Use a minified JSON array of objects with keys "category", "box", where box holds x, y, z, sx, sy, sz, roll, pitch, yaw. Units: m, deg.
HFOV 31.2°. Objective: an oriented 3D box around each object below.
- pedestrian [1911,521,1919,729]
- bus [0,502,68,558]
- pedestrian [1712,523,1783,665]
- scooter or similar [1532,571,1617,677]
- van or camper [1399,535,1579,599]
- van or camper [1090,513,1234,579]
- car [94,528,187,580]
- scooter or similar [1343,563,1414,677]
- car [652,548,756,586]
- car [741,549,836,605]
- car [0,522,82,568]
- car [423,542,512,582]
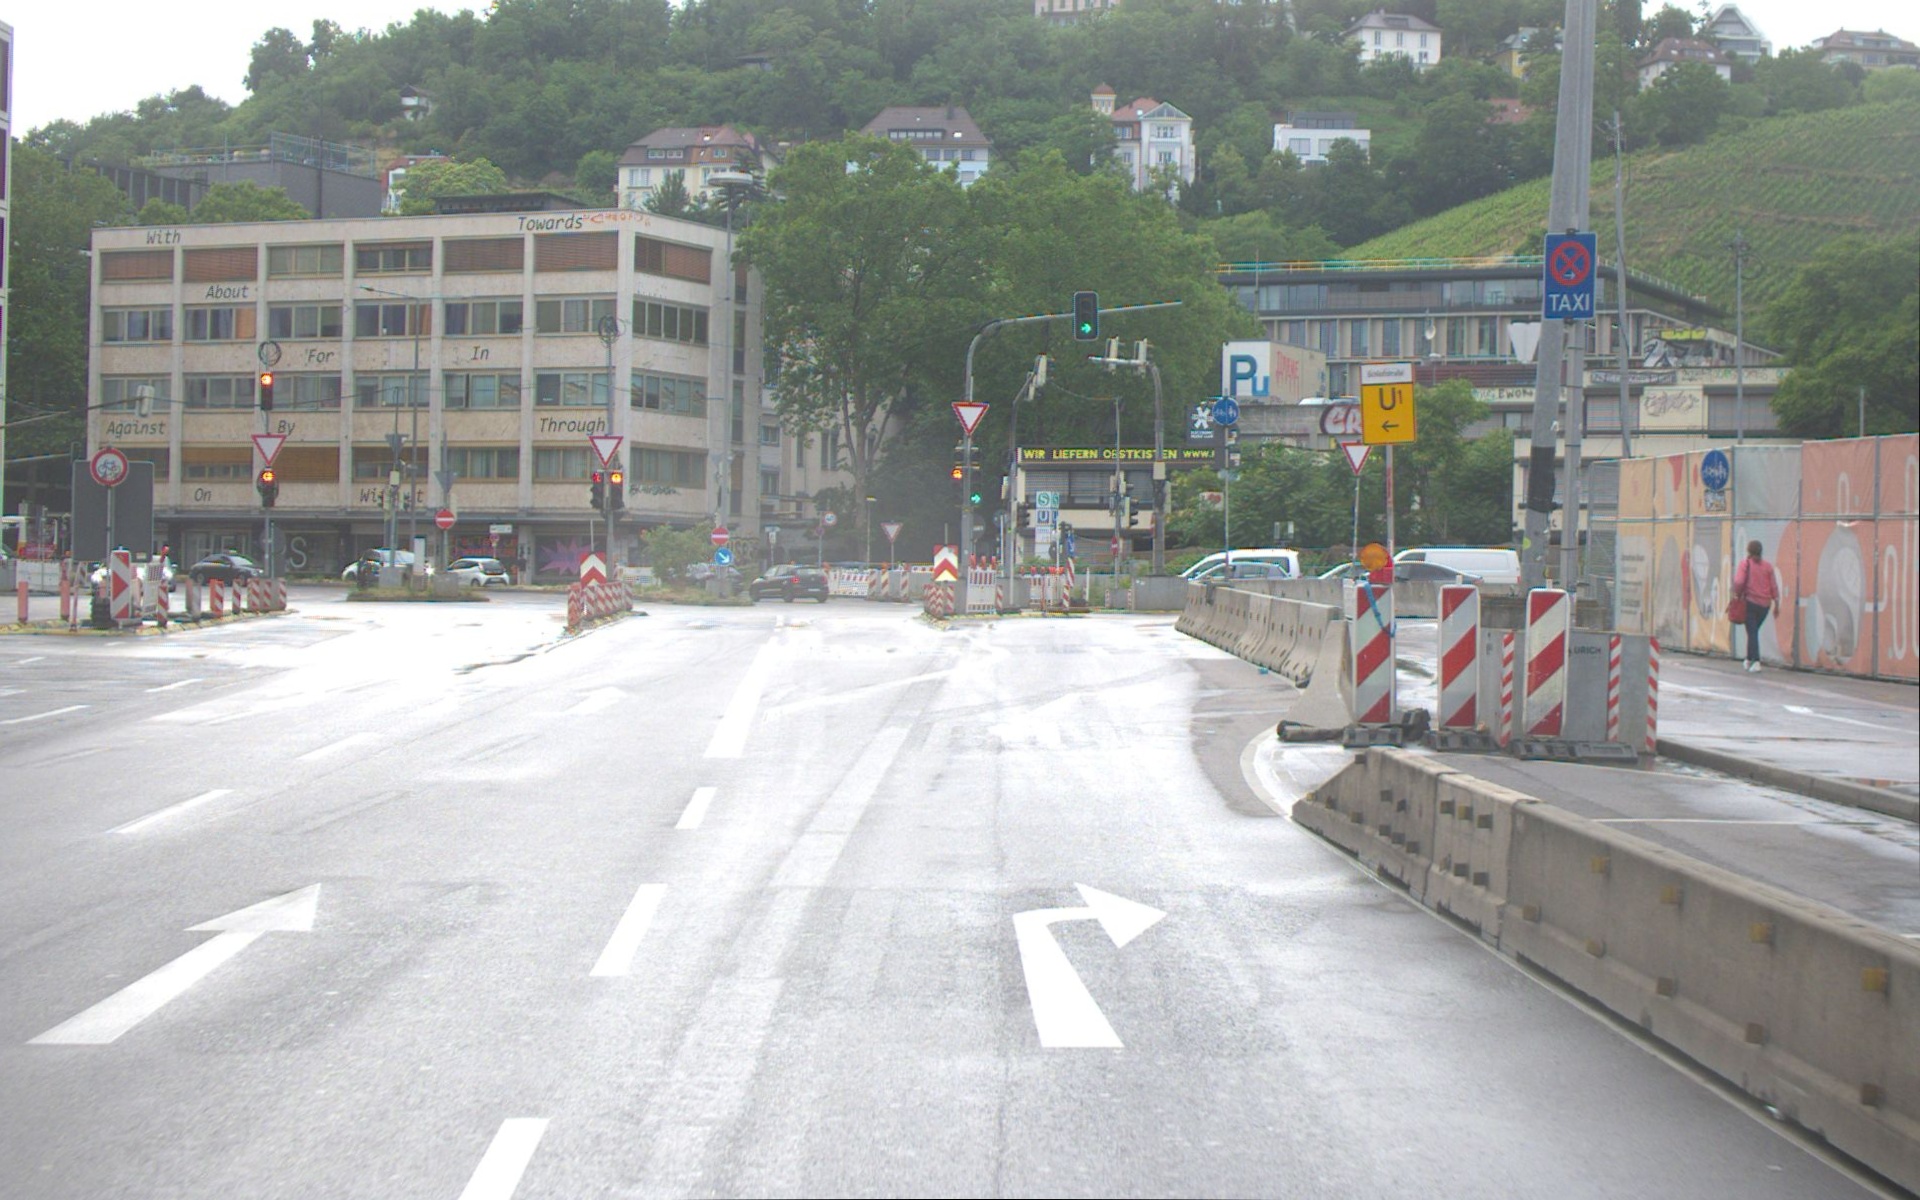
[{"category":"pedestrian","box":[8.344,0.217,28.350,0.683,1.734,0.907,1,1,-3]},{"category":"bus","box":[-51.245,-3.579,173.055,13.953,2.741,3.206,1,1,30]},{"category":"pedestrian","box":[10.489,-0.085,45.799,0.719,1.860,0.709,1,1,-3]},{"category":"scooter or similar","box":[7.059,0.268,39.538,0.467,1.179,1.415,1,1,-11]},{"category":"van or camper","box":[16.345,-1.017,106.374,5.195,1.887,1.888,1,1,-3]},{"category":"van or camper","box":[6.235,-1.680,106.285,4.241,1.972,1.851,1,1,-3]},{"category":"car","box":[-28.432,-1.577,119.413,2.222,1.747,4.813,0,0,-2]},{"category":"scooter or similar","box":[4.595,0.205,37.830,0.675,1.210,1.571,1,1,4]},{"category":"car","box":[-10.587,-1.376,142.170,4.072,1.486,1.732,2,1,35]},{"category":"car","box":[-6.475,-0.879,129.583,1.993,2.007,4.001,1,1,-29]},{"category":"car","box":[-38.271,-2.282,141.956,3.996,1.809,1.802,2,1,38]},{"category":"car","box":[-21.705,-1.681,151.480,3.999,1.685,1.794,2,1,44]}]
